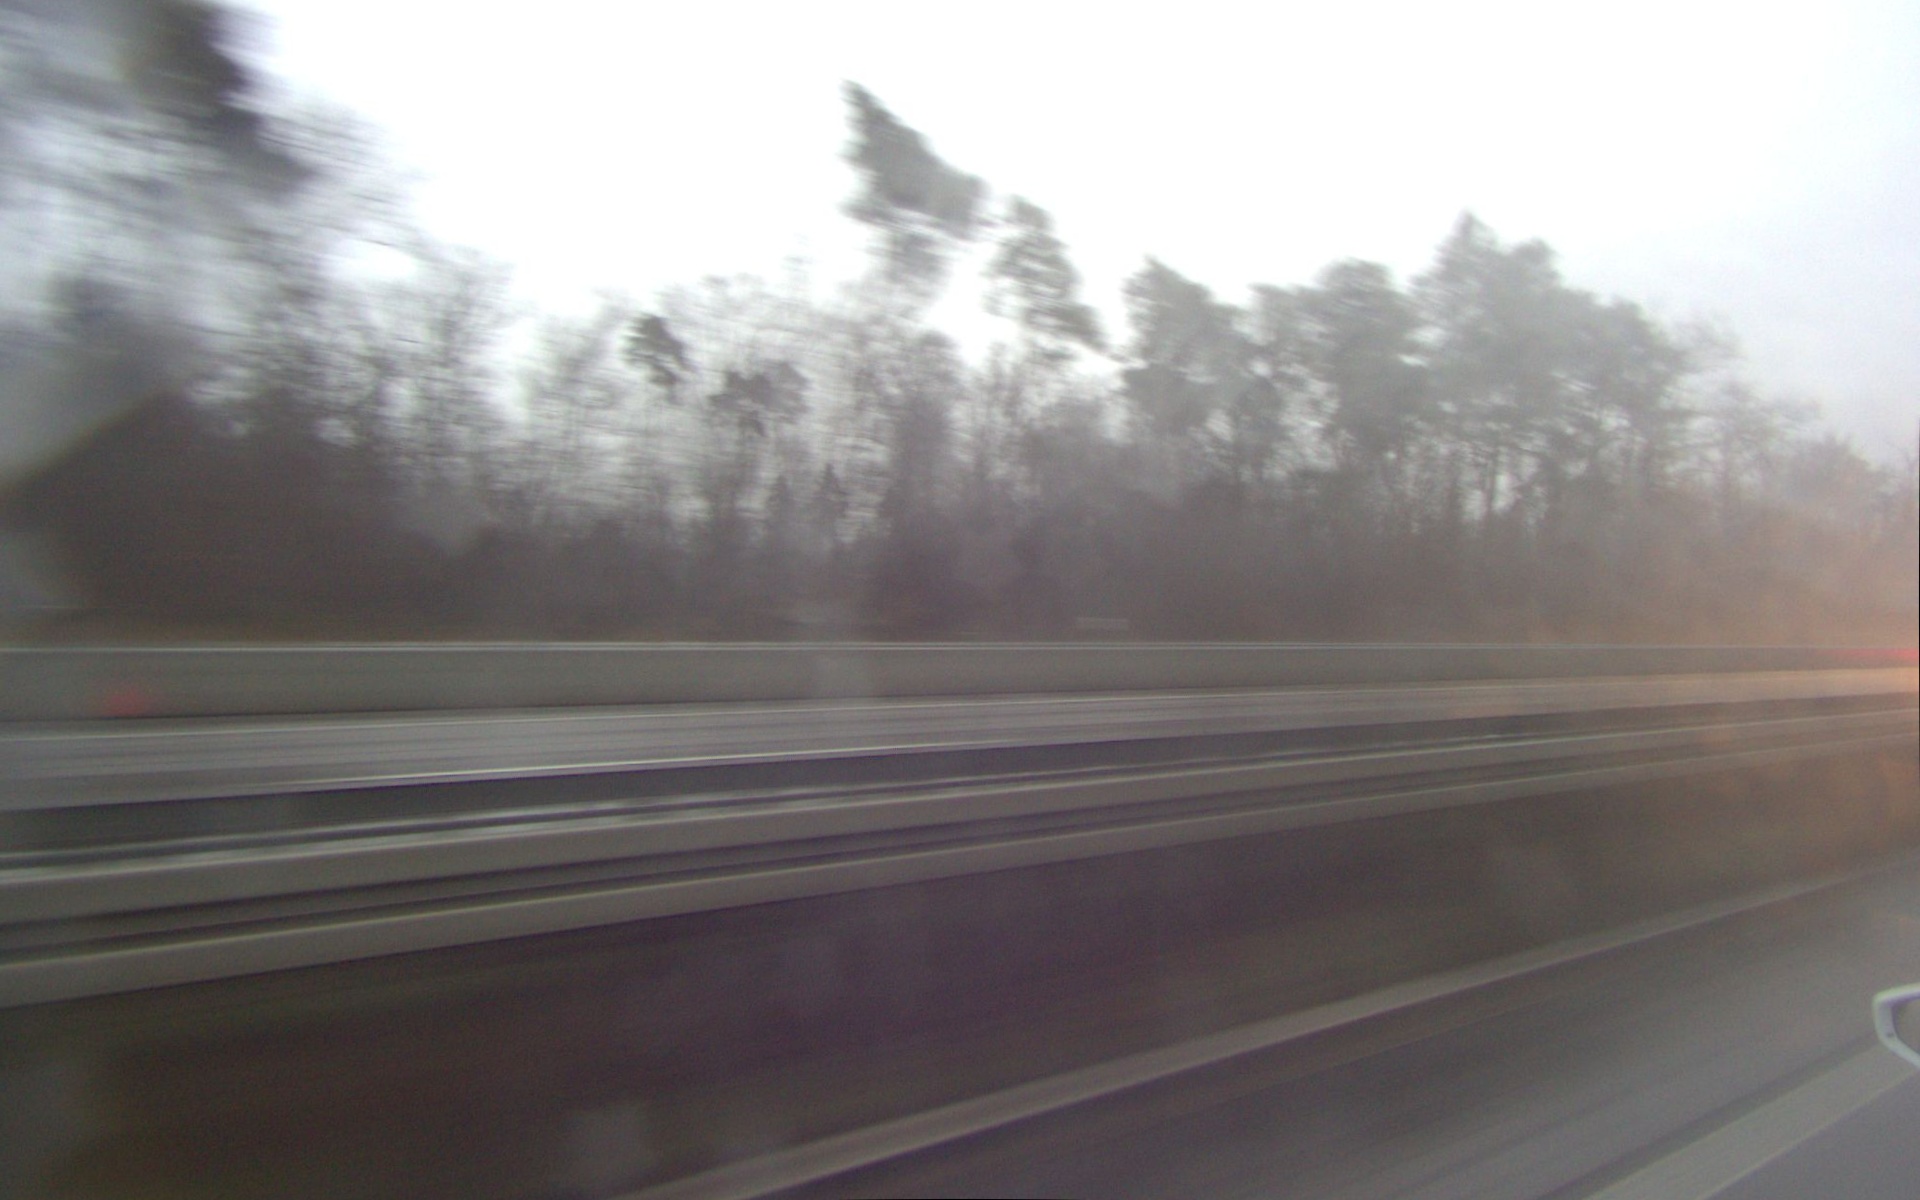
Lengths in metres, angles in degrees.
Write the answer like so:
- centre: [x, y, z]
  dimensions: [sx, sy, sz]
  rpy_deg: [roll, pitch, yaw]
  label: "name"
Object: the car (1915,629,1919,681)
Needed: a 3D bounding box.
- centre: [36.368, 2.009, 36.069]
  dimensions: [3.953, 1.831, 1.974]
  rpy_deg: [1, 0, -30]
  label: "car"
